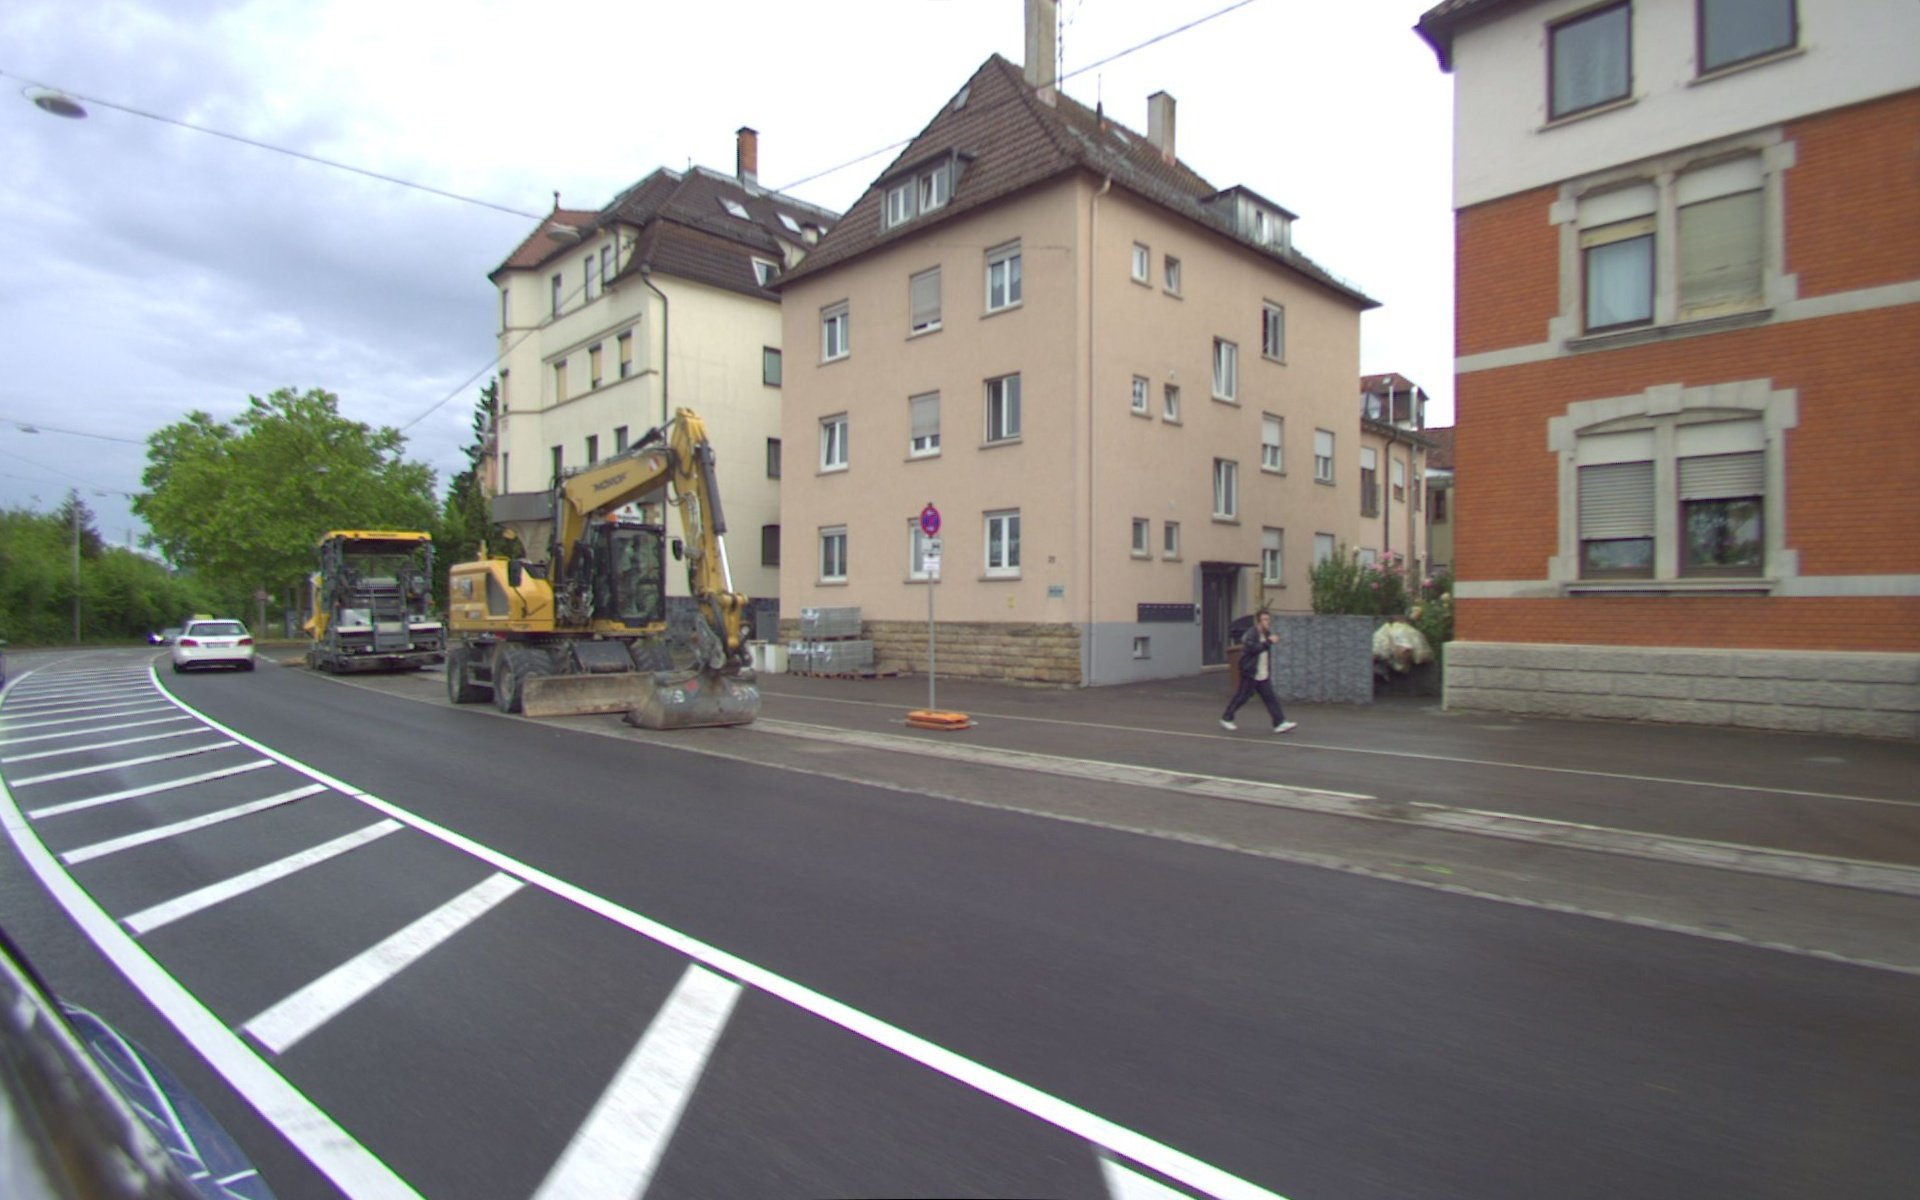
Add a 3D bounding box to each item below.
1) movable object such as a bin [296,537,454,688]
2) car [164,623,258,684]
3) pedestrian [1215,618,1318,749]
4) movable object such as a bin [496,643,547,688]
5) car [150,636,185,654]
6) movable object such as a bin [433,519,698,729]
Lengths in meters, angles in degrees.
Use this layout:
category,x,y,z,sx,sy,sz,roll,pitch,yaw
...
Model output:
category,x,y,z,sx,sy,sz,roll,pitch,yaw
movable object such as a bin,-17.505,0.422,29.969,2.910,3.873,8.143,1,-2,-38
car,-21.968,1.512,29.616,1.934,1.656,4.451,1,-2,-40
pedestrian,3.829,1.015,12.667,1.038,1.540,0.596,-2,-1,44
movable object such as a bin,-13.337,1.969,30.758,1.143,1.312,1.250,1,-2,-38
car,-62.793,3.574,80.206,1.579,1.312,3.724,-1,-1,-29
movable object such as a bin,-7.009,0.436,17.741,2.790,3.136,4.637,1,-3,-44
